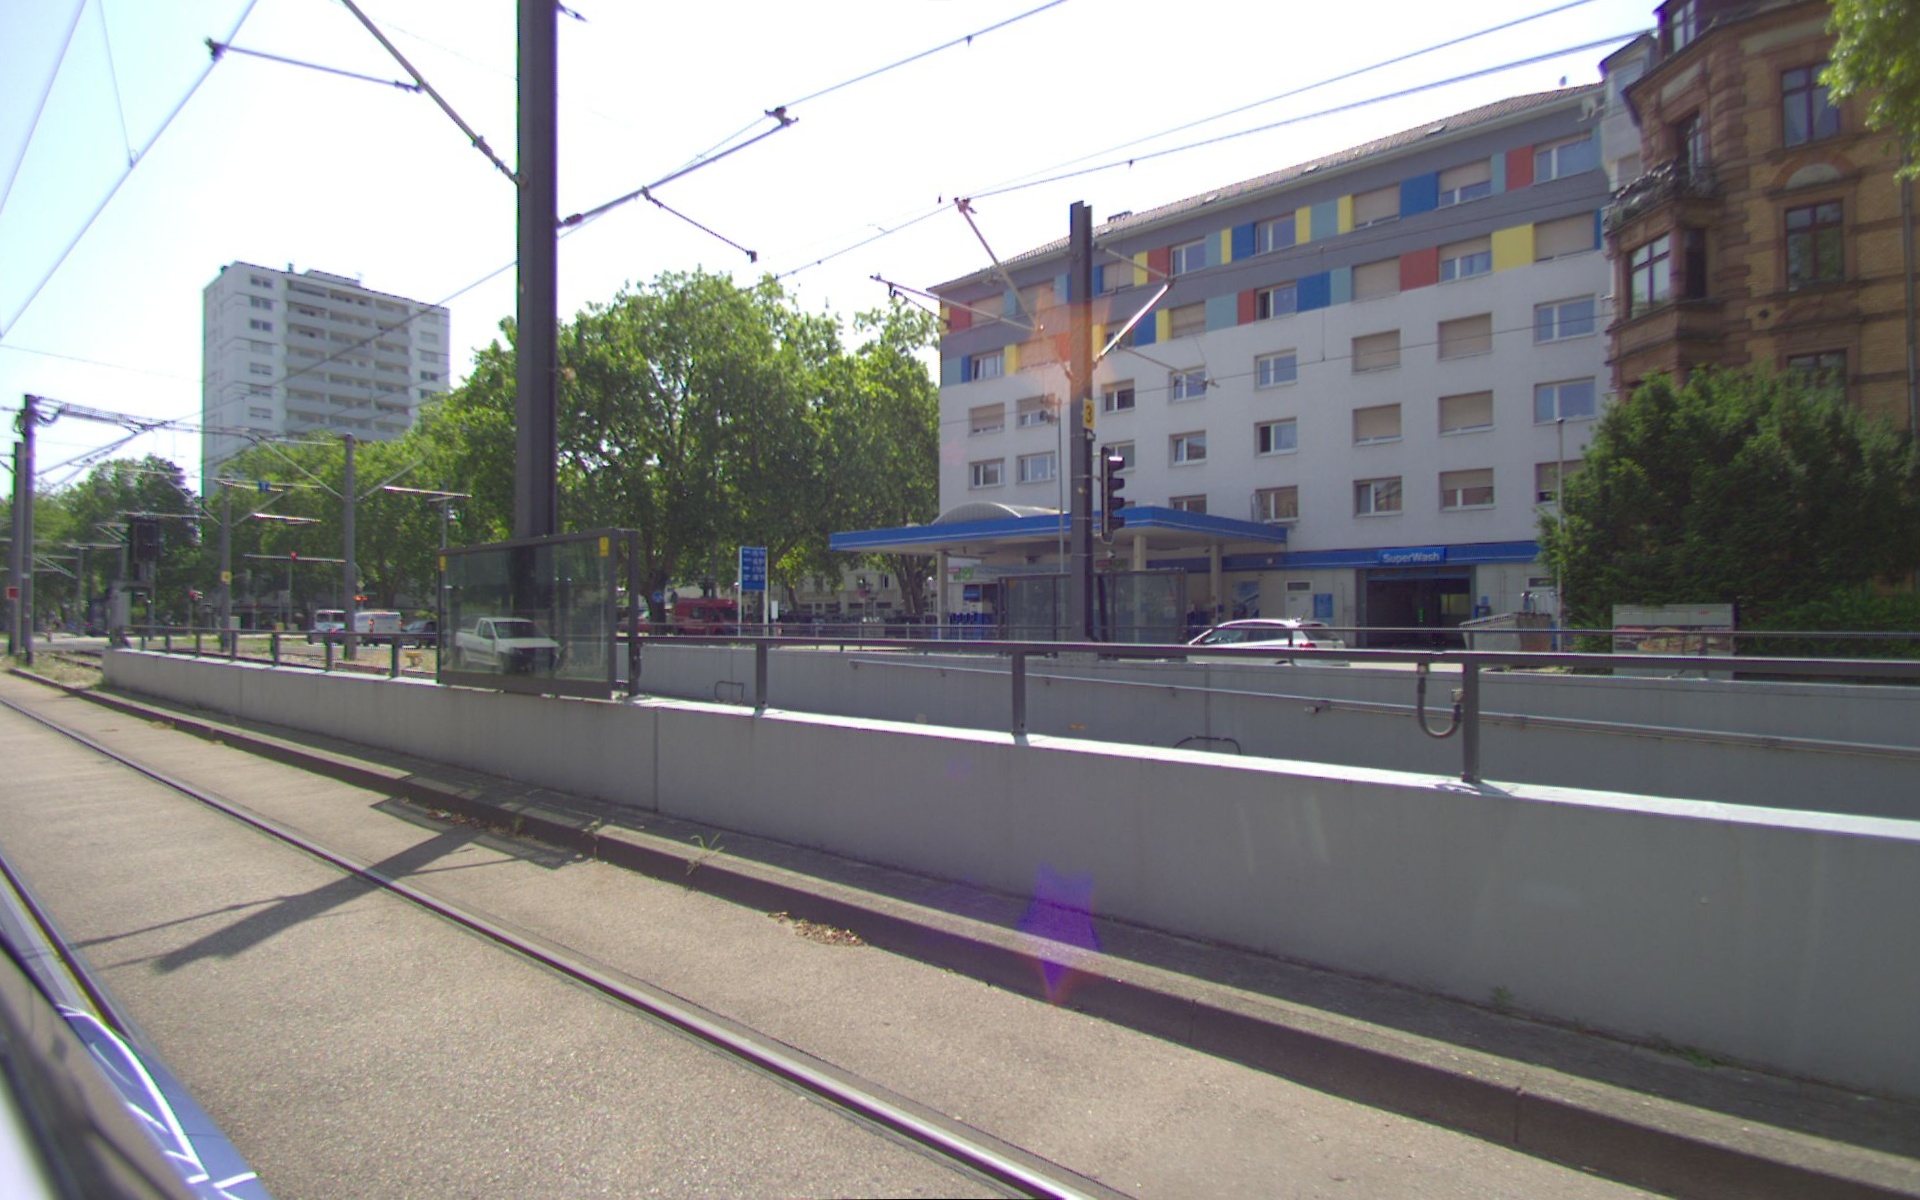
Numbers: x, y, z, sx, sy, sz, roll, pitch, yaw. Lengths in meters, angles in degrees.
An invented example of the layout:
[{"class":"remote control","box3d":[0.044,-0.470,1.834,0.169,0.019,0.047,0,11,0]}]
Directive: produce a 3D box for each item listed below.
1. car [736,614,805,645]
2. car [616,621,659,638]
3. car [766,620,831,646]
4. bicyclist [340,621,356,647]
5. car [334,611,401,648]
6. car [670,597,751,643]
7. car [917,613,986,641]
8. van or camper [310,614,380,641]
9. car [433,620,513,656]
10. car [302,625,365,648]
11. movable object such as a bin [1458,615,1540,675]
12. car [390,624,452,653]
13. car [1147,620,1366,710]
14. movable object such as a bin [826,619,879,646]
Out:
[{"class":"car","box3d":[-11.325,1.743,60.376,3.998,1.733,1.973,-1,-1,41]},{"class":"car","box3d":[-28.045,2.555,87.976,1.471,1.394,3.300,-1,-1,40]},{"class":"car","box3d":[-9.985,2.040,62.313,3.998,1.538,1.843,-2,-2,41]},{"class":"bicyclist","box3d":[-40.860,2.247,67.585,0.868,1.698,0.632,-1,-1,38]},{"class":"car","box3d":[-33.699,1.689,57.519,4.801,2.006,1.759,-2,-2,40]},{"class":"car","box3d":[-13.890,1.046,56.216,4.979,2.411,1.828,0,1,41]},{"class":"car","box3d":[-0.669,2.039,75.515,5.098,2.005,1.899,-2,-2,37]},{"class":"van or camper","box3d":[-58.304,2.634,96.048,2.055,2.480,5.871,-1,-2,16]},{"class":"car","box3d":[-23.195,1.777,48.101,4.601,1.638,1.827,-1,-3,42]},{"class":"car","box3d":[-38.171,2.209,61.600,4.625,1.369,1.927,-2,-2,40]},{"class":"movable object such as a bin","box3d":[13.218,1.066,24.803,1.468,1.395,1.764,-1,-1,39]},{"class":"car","box3d":[-27.937,1.975,52.446,3.780,1.431,1.579,-1,-3,41]},{"class":"car","box3d":[5.697,1.191,19.790,1.525,1.573,3.884,0,-1,-41]},{"class":"movable object such as a bin","box3d":[-6.725,2.016,63.185,1.985,1.623,2.689,-1,-1,41]}]
